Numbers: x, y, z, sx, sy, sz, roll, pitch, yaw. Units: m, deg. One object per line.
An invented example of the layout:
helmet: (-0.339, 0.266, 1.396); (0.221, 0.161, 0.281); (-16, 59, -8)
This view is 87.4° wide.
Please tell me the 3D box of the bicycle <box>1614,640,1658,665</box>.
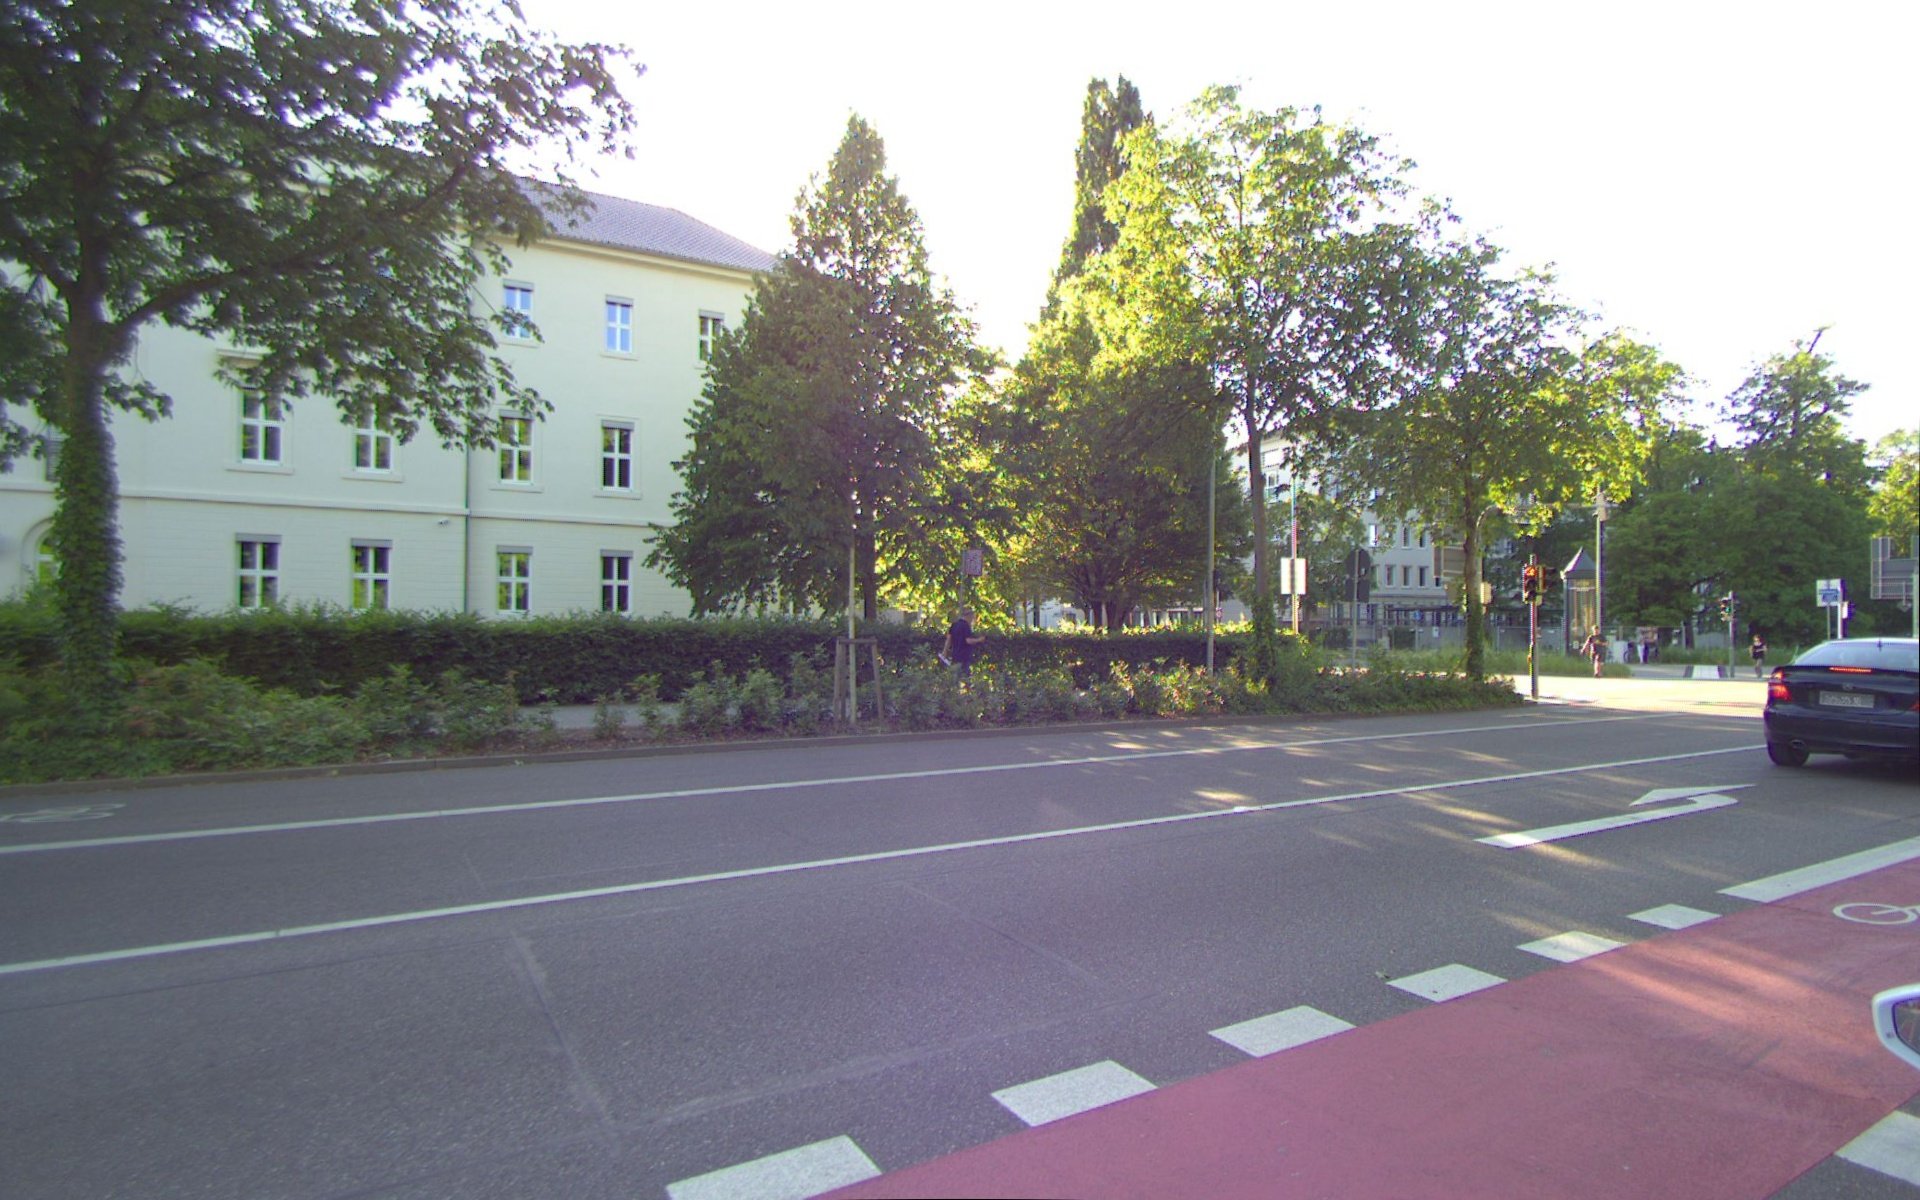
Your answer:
bicycle: (33.768, 2.619, 50.184); (0.288, 1.163, 1.849); (2, -1, -36)

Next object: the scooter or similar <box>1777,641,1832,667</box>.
scooter or similar: (38.949, 2.480, 46.317); (1.882, 1.139, 0.713); (1, -1, 3)

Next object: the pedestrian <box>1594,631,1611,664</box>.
pedestrian: (32.984, 2.447, 51.539); (0.442, 1.664, 0.624); (2, -1, -39)

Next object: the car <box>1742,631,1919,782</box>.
car: (10.556, 1.061, 11.017); (4.214, 1.423, 1.697); (1, -2, -30)

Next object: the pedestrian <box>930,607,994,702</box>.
pedestrian: (0.030, 1.024, 18.984); (0.955, 1.743, 0.832); (1, -2, -27)

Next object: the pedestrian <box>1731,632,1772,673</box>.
pedestrian: (32.014, 2.117, 40.619); (0.992, 1.624, 1.080); (1, -2, -36)

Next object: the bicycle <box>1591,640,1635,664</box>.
bicycle: (33.417, 2.643, 51.441); (0.439, 1.163, 1.849); (2, -1, -36)

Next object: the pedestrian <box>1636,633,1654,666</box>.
pedestrian: (33.842, 2.443, 49.620); (0.442, 1.601, 0.624); (2, -1, -39)

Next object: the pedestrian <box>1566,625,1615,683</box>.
pedestrian: (22.806, 1.960, 36.345); (1.175, 2.040, 0.992); (2, -1, -25)
